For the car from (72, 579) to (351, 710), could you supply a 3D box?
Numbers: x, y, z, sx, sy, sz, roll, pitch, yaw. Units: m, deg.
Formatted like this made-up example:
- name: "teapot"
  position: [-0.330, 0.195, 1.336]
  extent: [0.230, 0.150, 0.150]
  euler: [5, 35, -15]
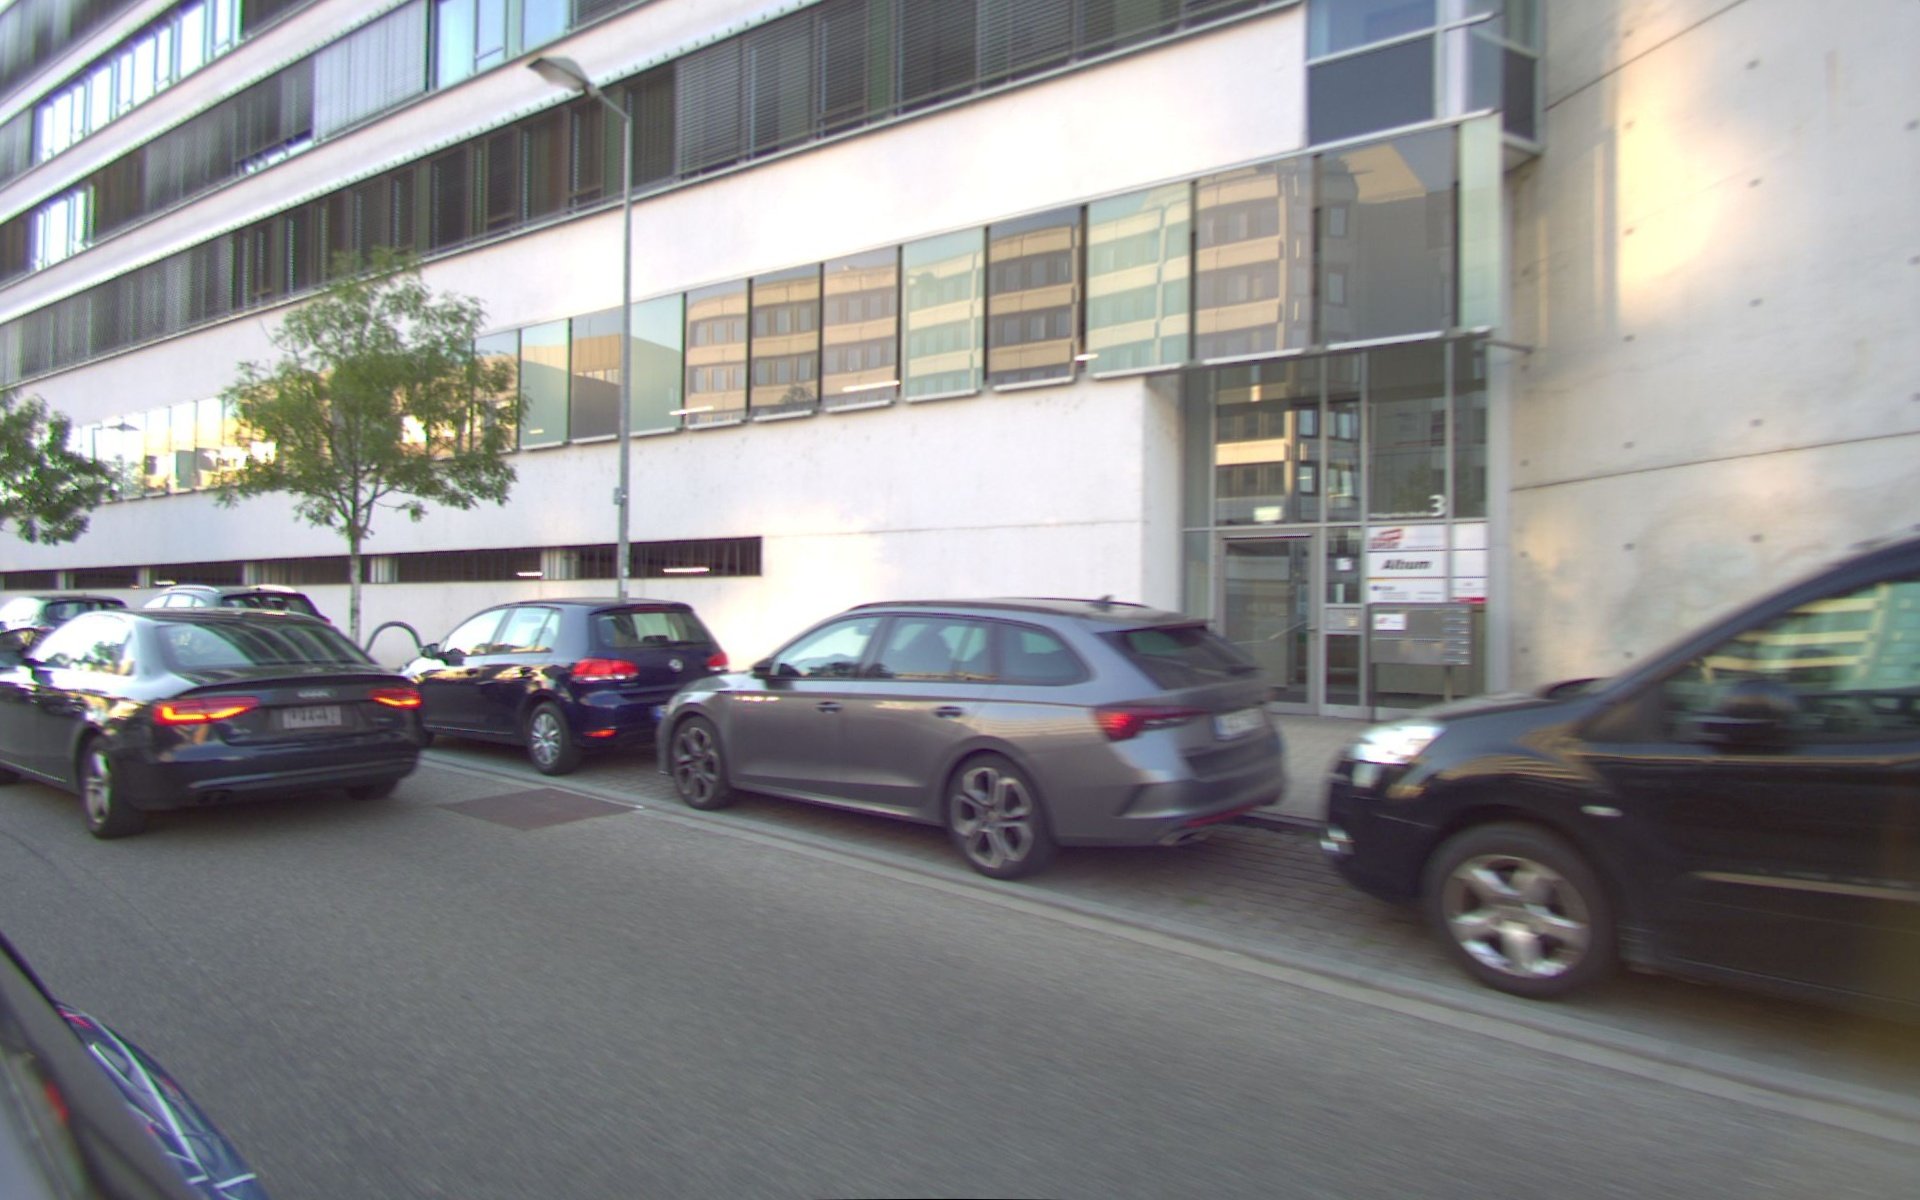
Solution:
- name: "car"
  position: [-11.009, 0.604, 14.860]
  extent: [3.983, 1.699, 1.780]
  euler: [0, -2, 29]

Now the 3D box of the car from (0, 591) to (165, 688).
- name: "car"
  position: [-16.235, 0.638, 18.097]
  extent: [3.983, 1.563, 1.780]
  euler: [0, 0, 29]

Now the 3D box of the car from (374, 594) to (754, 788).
- name: "car"
  position: [-3.840, 0.730, 9.589]
  extent: [3.760, 1.488, 1.632]
  euler: [0, -2, 38]

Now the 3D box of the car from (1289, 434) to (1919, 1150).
- name: "car"
  position: [3.597, 0.518, 3.178]
  extent: [1.867, 1.987, 4.521]
  euler: [-1, 0, -44]

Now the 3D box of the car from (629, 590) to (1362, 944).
- name: "car"
  position: [-0.048, 0.714, 6.459]
  extent: [4.517, 1.488, 1.841]
  euler: [-1, 0, 41]

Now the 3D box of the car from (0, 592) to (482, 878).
- name: "car"
  position: [-5.690, 0.752, 7.470]
  extent: [4.664, 1.509, 1.838]
  euler: [0, -2, 35]
